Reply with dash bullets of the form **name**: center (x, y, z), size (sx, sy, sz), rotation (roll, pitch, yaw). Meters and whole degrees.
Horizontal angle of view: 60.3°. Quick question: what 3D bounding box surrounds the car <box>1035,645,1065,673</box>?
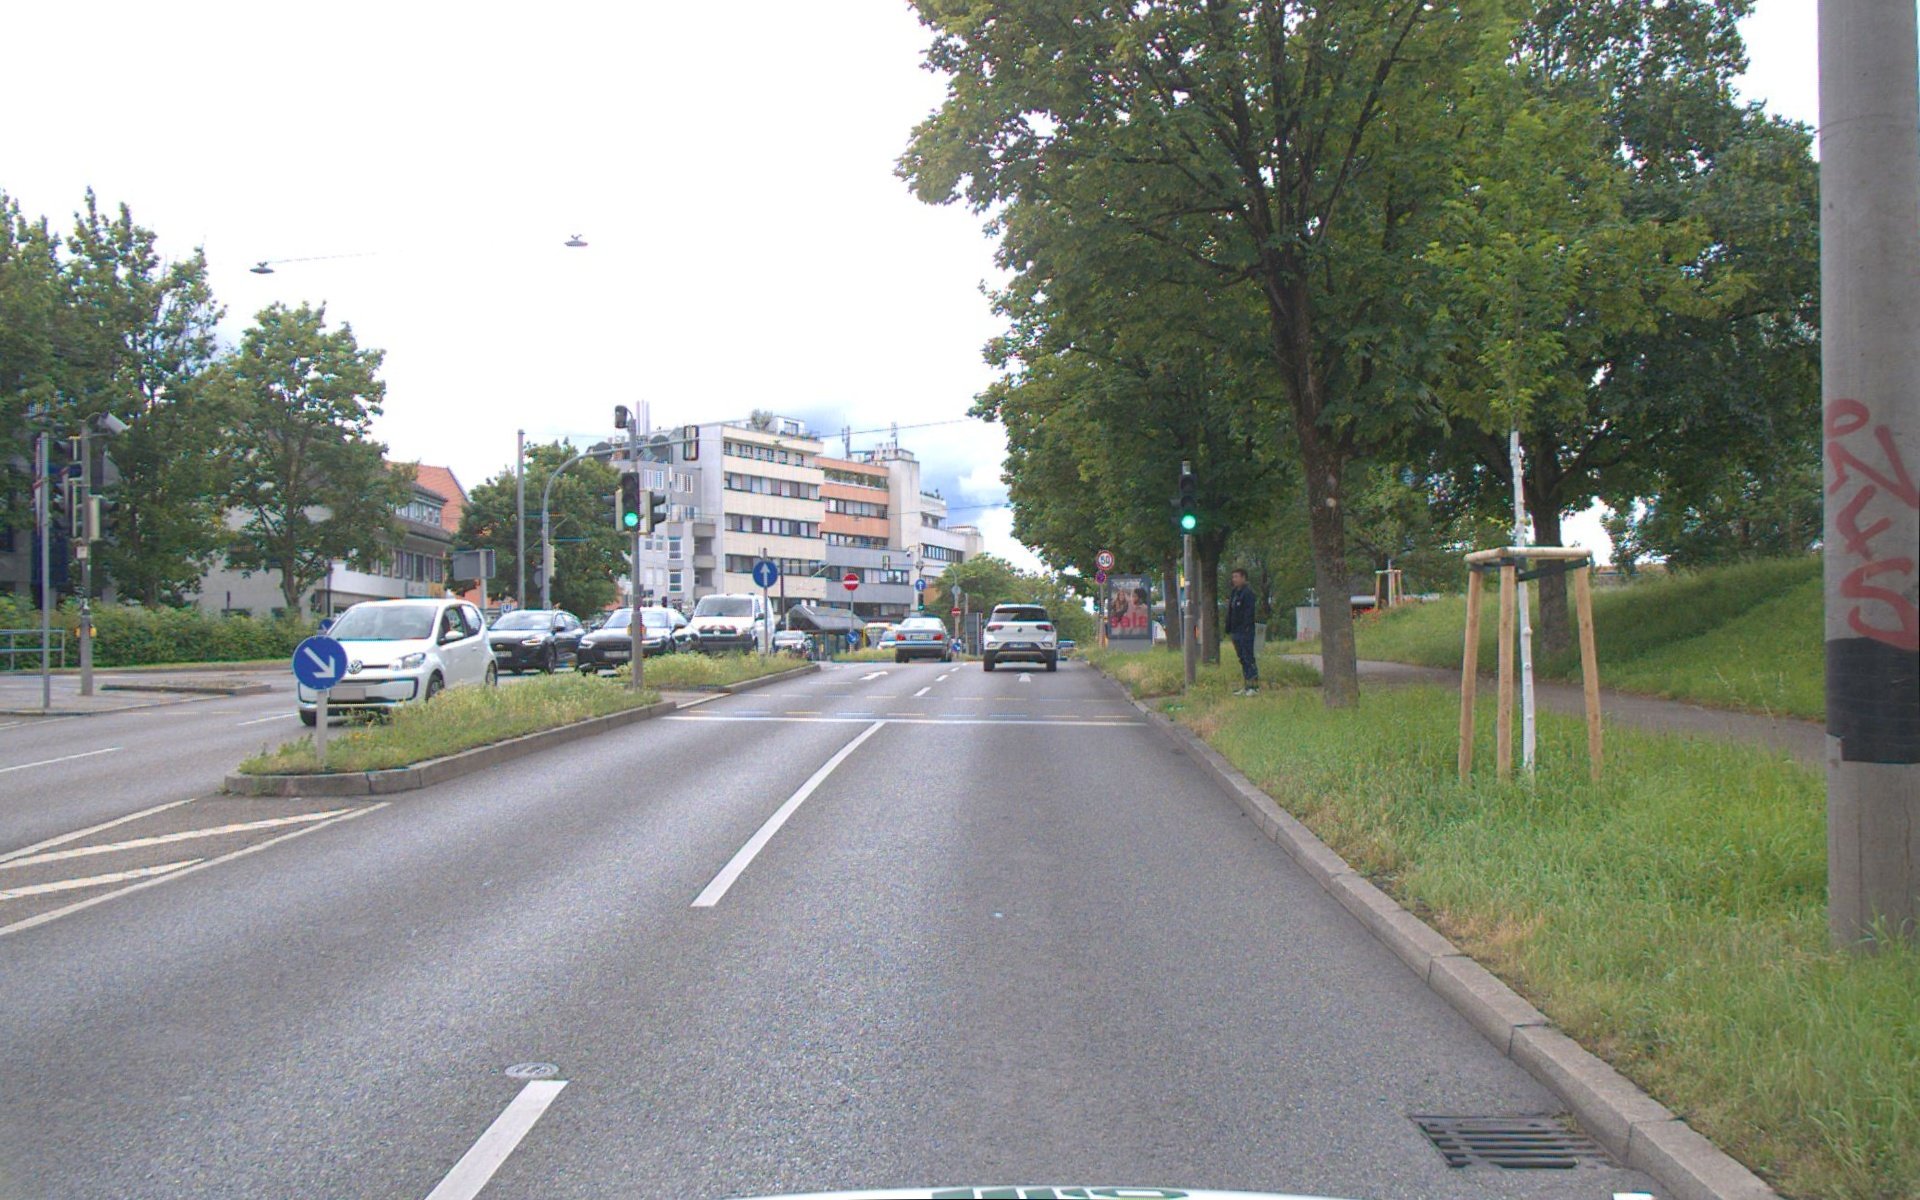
- **car**: center (6.000, 3.956, 111.159), size (1.734, 1.598, 4.285), rotation (-1, 1, 0)

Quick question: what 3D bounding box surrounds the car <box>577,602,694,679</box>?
- **car**: center (-6.987, 0.828, 36.053), size (1.741, 1.507, 4.480), rotation (-2, 0, -2)

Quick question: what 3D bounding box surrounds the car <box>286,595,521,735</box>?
- **car**: center (-7.032, 0.748, 21.324), size (1.741, 1.592, 3.999), rotation (-1, 0, -2)

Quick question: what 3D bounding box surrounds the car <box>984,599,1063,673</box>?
- **car**: center (1.577, 0.827, 40.017), size (1.664, 1.575, 3.738), rotation (2, 1, 5)

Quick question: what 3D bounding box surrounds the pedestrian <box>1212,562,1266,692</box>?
- **pedestrian**: center (4.126, 0.398, 24.476), size (0.629, 1.888, 0.672), rotation (-1, 0, -4)

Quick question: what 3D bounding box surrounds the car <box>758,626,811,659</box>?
- **car**: center (-8.166, 1.976, 77.269), size (1.822, 1.453, 4.001), rotation (-1, -1, 3)

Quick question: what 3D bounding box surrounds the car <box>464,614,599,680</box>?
- **car**: center (-9.796, 1.043, 38.066), size (1.746, 1.403, 3.953), rotation (0, 0, 6)

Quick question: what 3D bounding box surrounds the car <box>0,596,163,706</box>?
- **car**: center (-14.290, 0.740, 24.674), size (1.748, 1.571, 3.981), rotation (-1, 0, 39)

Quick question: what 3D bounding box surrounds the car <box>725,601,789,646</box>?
- **car**: center (-7.160, 0.838, 58.699), size (1.708, 1.490, 3.999), rotation (-2, -1, 0)

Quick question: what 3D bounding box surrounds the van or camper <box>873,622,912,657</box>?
- **van or camper**: center (-3.904, 2.333, 96.478), size (1.886, 1.972, 5.248), rotation (0, -2, 1)

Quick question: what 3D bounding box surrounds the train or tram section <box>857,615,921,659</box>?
- **train or tram section**: center (-5.922, 3.252, 140.866), size (2.505, 3.471, 13.091), rotation (-2, -3, 10)

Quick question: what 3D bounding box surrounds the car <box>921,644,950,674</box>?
- **car**: center (-1.912, 4.610, 129.899), size (1.952, 2.049, 4.837), rotation (1, 1, 3)

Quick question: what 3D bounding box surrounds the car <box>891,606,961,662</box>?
- **car**: center (-1.026, 1.036, 51.780), size (1.663, 1.542, 3.739), rotation (-1, 1, 7)

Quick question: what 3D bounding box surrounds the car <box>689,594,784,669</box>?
- **car**: center (-6.291, 0.837, 47.083), size (1.797, 2.037, 4.859), rotation (0, 0, 3)
